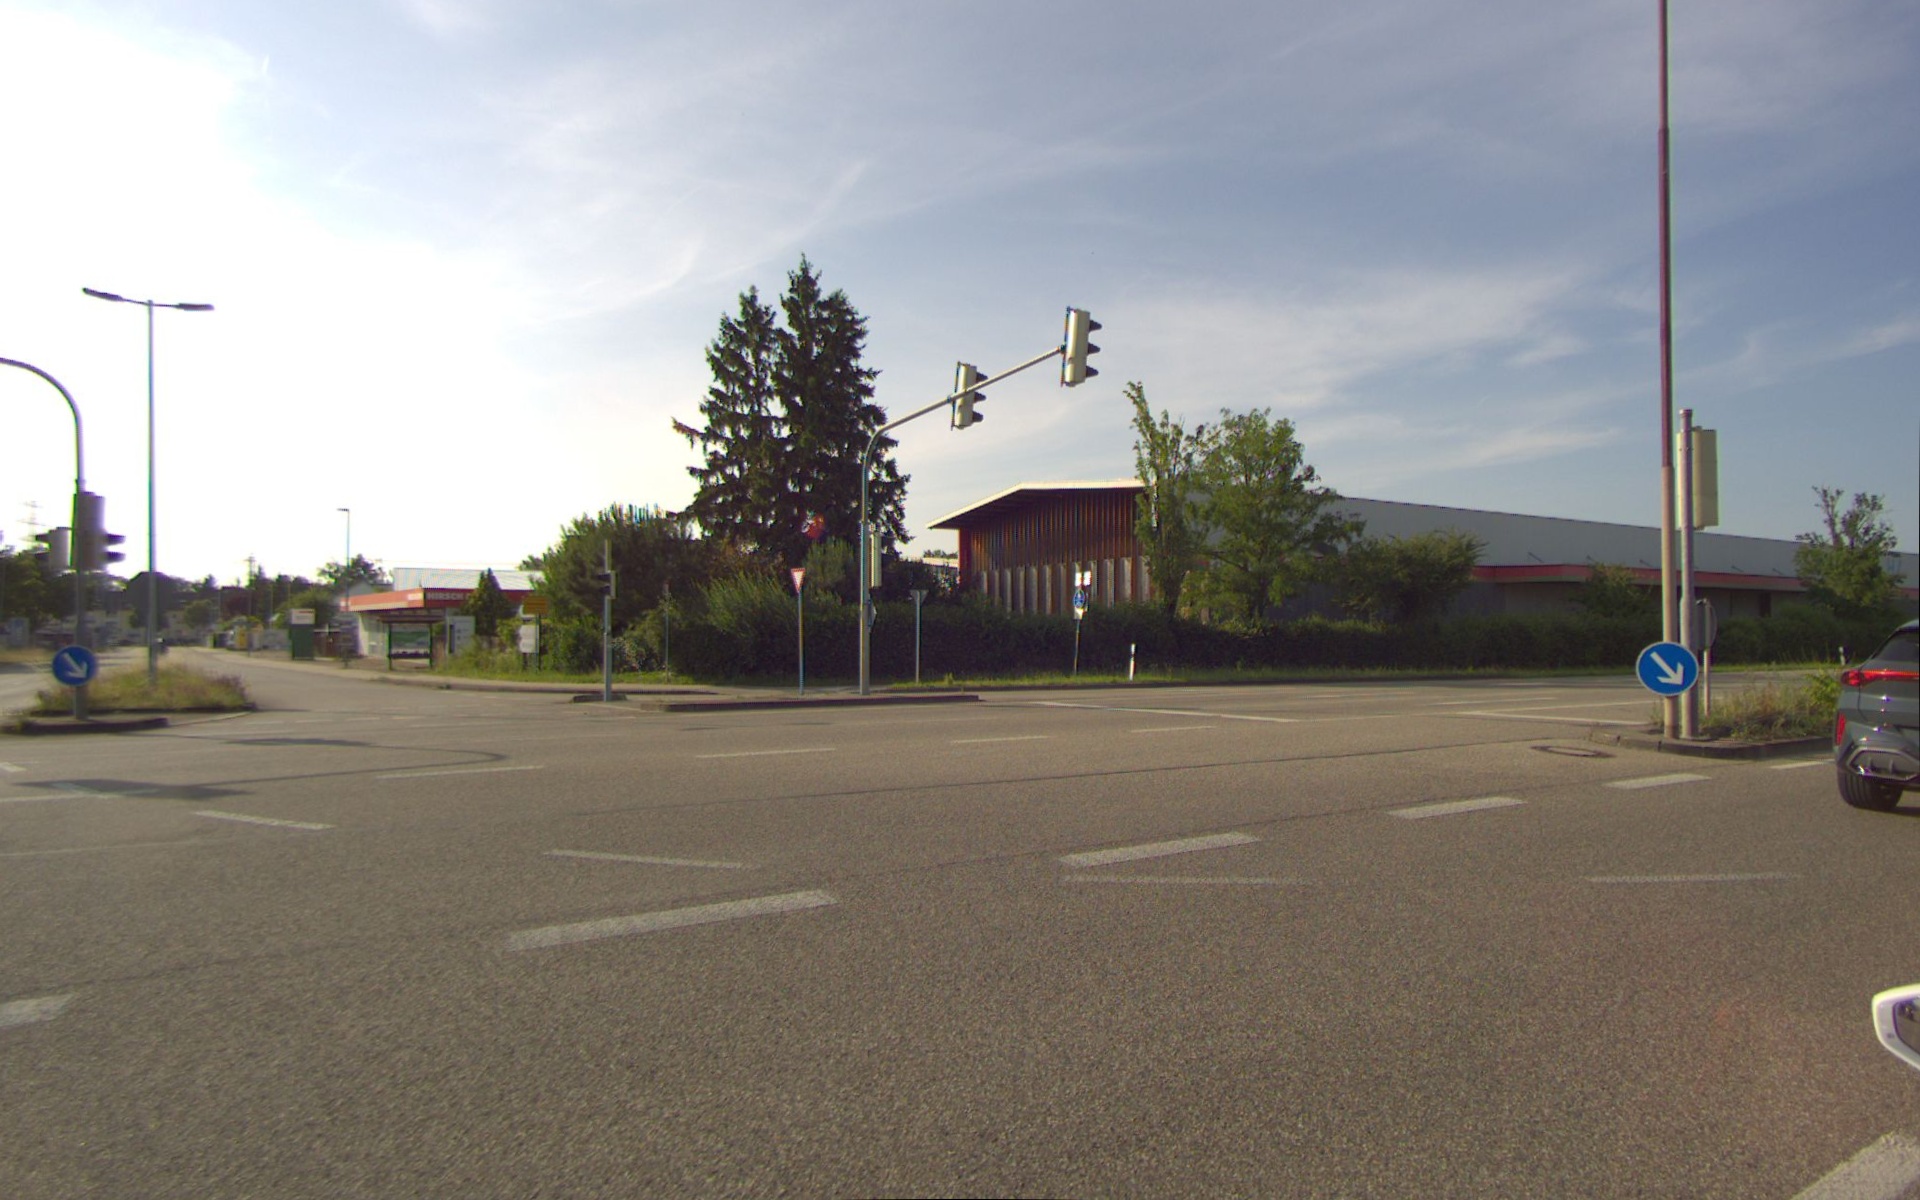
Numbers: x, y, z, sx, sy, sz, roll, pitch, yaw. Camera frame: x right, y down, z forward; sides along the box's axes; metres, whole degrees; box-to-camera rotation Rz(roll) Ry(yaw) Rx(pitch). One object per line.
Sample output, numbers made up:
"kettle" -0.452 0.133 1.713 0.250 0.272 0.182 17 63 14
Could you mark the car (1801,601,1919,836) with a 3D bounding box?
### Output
"car" 8.740 0.875 7.934 4.349 1.633 1.837 1 1 -30
